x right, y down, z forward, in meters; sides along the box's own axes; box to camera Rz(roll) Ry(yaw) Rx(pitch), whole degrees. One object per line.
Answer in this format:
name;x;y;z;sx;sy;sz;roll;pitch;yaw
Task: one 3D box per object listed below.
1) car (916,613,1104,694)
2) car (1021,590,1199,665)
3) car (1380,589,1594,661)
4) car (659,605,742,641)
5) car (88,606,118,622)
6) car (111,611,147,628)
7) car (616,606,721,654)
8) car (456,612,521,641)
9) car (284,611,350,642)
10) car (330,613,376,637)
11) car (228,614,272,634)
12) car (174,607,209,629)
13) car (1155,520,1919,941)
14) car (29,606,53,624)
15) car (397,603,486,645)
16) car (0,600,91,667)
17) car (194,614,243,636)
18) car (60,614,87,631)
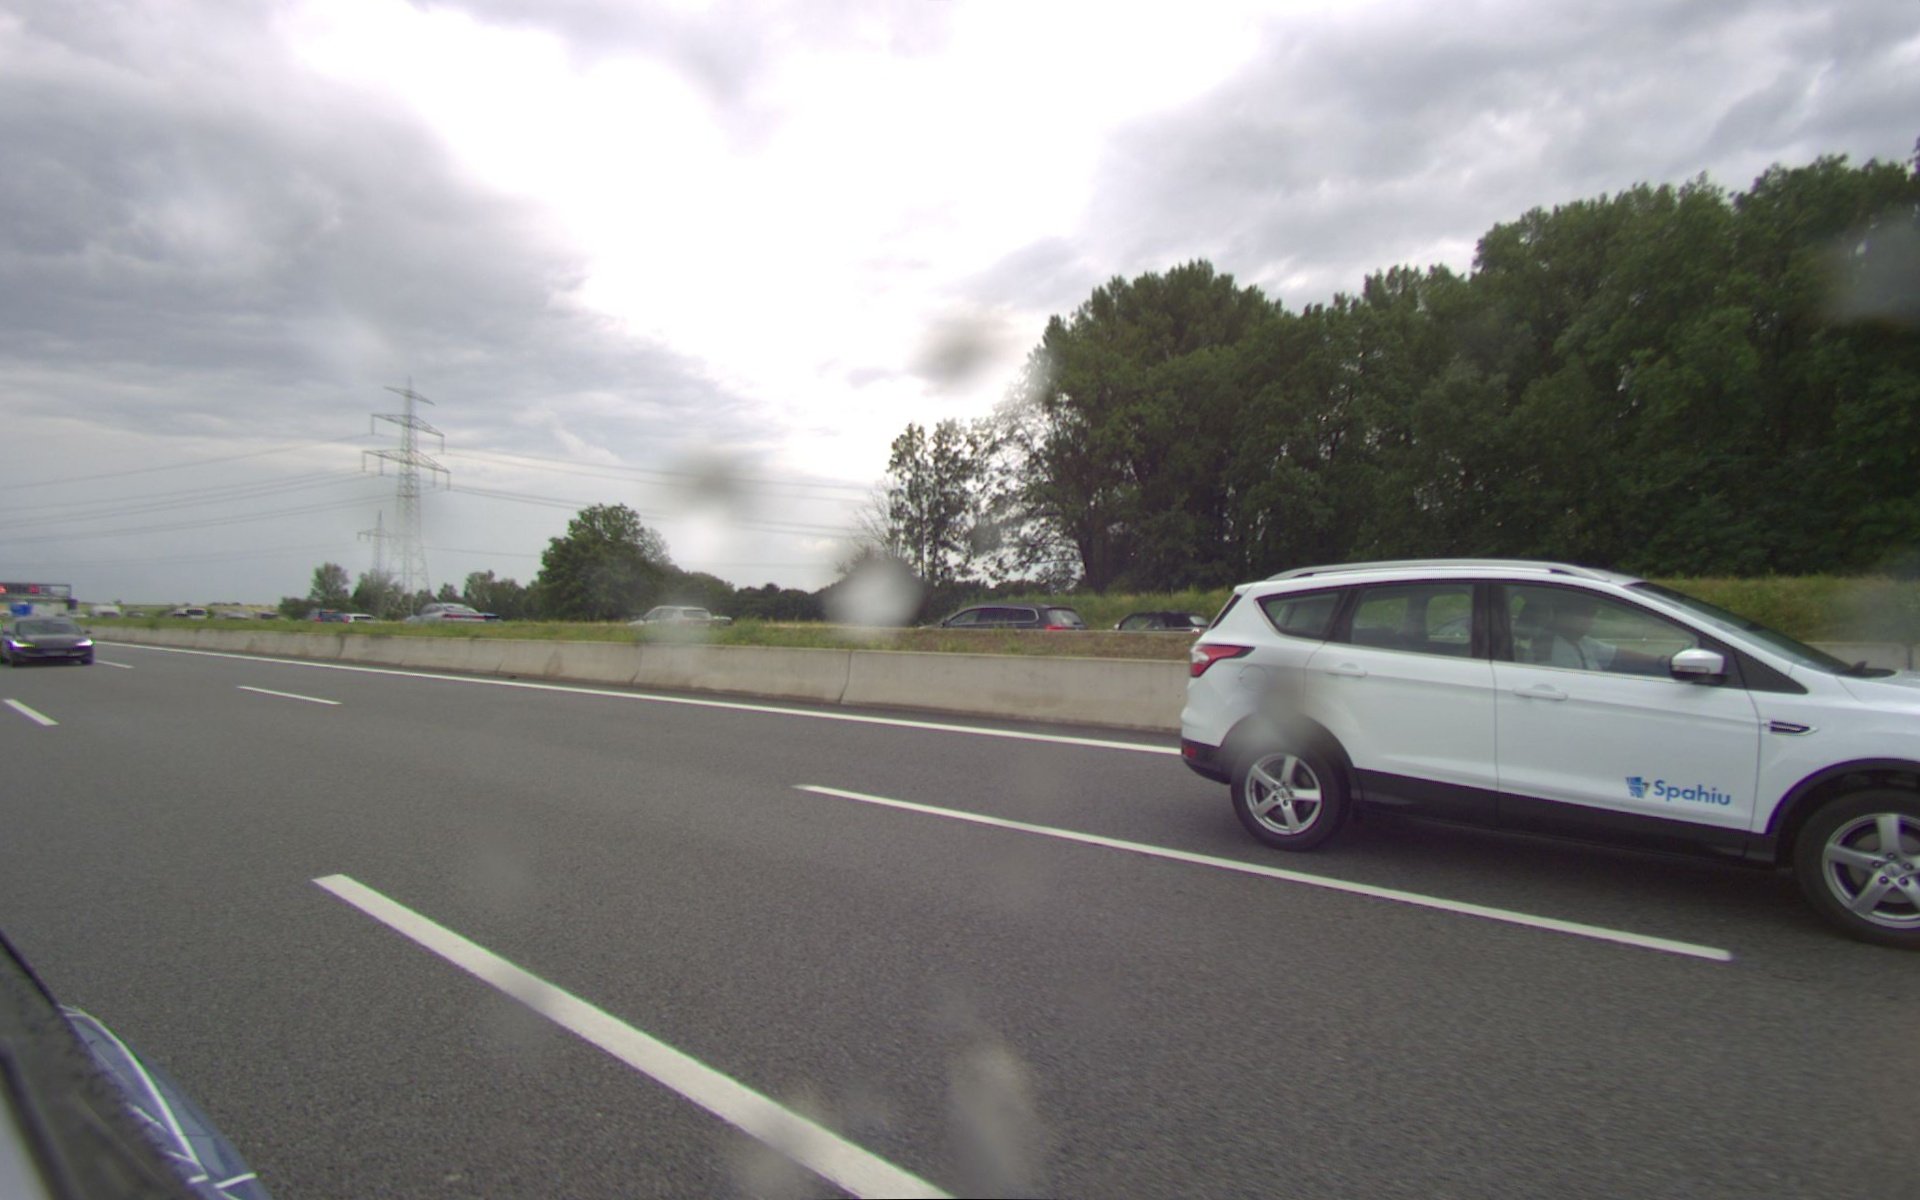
car;1.065;1.123;22.752;3.998;1.626;1.778;-1;0;42
car;3.706;0.654;25.429;4.016;1.740;1.972;-1;0;42
car;11.906;0.535;23.003;4.016;1.509;1.735;-1;0;42
car;-12.940;1.122;50.332;4.348;1.710;1.763;-1;0;39
car;-103.676;1.685;122.436;4.951;1.985;2.051;-1;0;41
car;-72.210;1.673;87.884;3.998;1.422;1.800;-1;0;41
car;-11.232;1.113;38.871;4.348;1.710;1.763;-1;0;39
car;-23.885;1.315;51.212;3.754;1.422;1.618;-1;0;42
car;-35.060;1.422;55.124;4.348;1.625;1.763;-1;0;39
car;-37.348;1.530;62.246;3.594;1.422;1.448;-1;0;41
car;-53.218;1.765;75.869;3.998;1.422;1.800;-1;0;41
car;-69.979;1.645;92.154;3.998;1.922;1.800;-1;0;41
car;3.647;0.549;5.492;4.849;1.702;1.796;-1;-1;41
car;-114.940;1.852;126.558;3.998;2.140;1.800;-1;-1;41
car;-22.327;1.009;43.520;4.498;1.710;1.763;-1;0;39
car;-27.534;0.933;30.249;5.165;1.834;1.971;-1;0;45
car;-49.105;1.640;66.988;3.998;1.422;1.800;-1;0;41
car;-97.323;2.452;111.082;3.998;1.744;1.800;-1;0;41
